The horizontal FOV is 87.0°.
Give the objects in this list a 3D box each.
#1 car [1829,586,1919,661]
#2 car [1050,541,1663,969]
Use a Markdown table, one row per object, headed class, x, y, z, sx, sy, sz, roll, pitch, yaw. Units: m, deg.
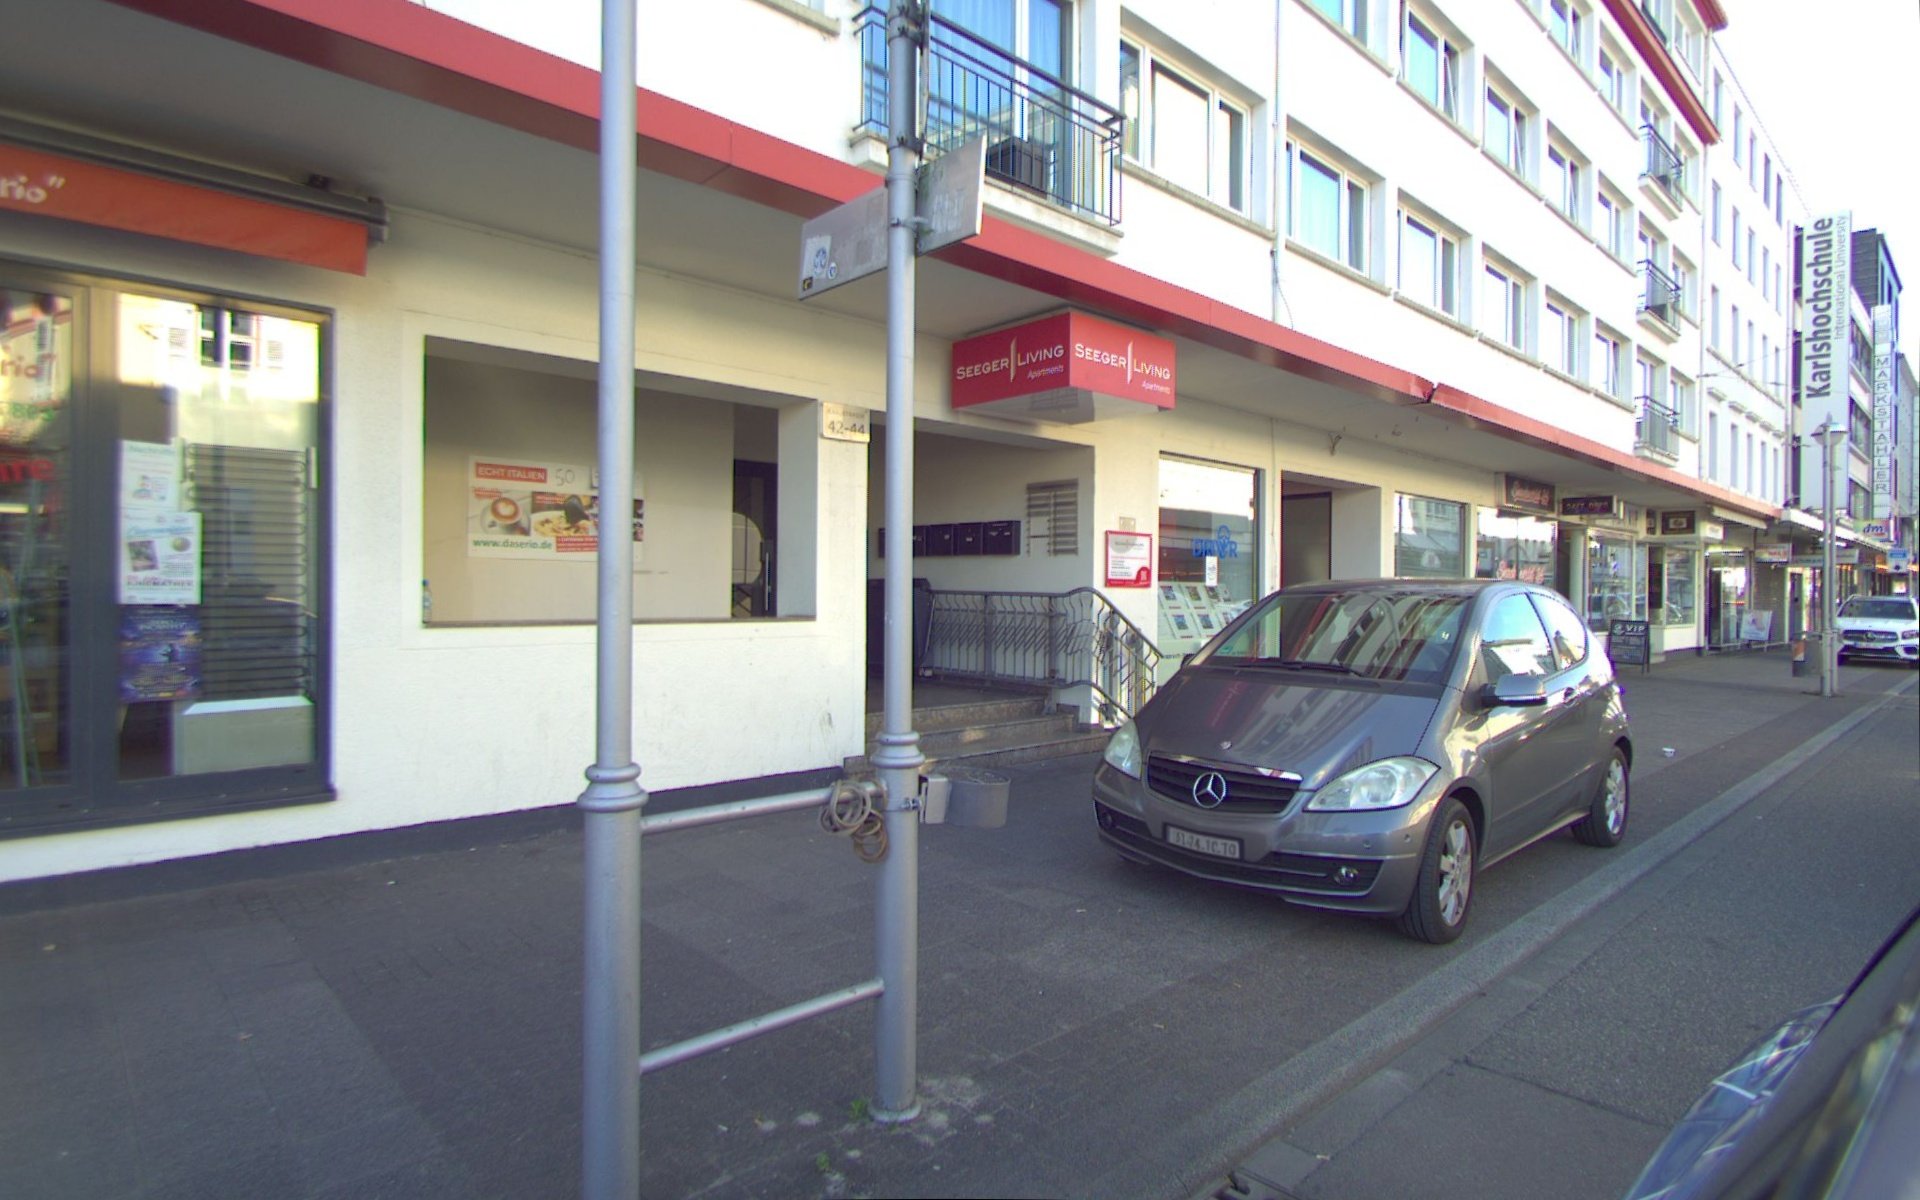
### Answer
| class | x | y | z | sx | sy | sz | roll | pitch | yaw |
| --- | --- | --- | --- | --- | --- | --- | --- | --- | --- |
| car | 22.399 | 0.519 | 24.352 | 1.994 | 1.650 | 3.935 | 1 | 1 | 45 |
| car | 2.444 | 0.569 | 5.680 | 3.932 | 1.565 | 1.681 | 0 | 0 | -43 |
